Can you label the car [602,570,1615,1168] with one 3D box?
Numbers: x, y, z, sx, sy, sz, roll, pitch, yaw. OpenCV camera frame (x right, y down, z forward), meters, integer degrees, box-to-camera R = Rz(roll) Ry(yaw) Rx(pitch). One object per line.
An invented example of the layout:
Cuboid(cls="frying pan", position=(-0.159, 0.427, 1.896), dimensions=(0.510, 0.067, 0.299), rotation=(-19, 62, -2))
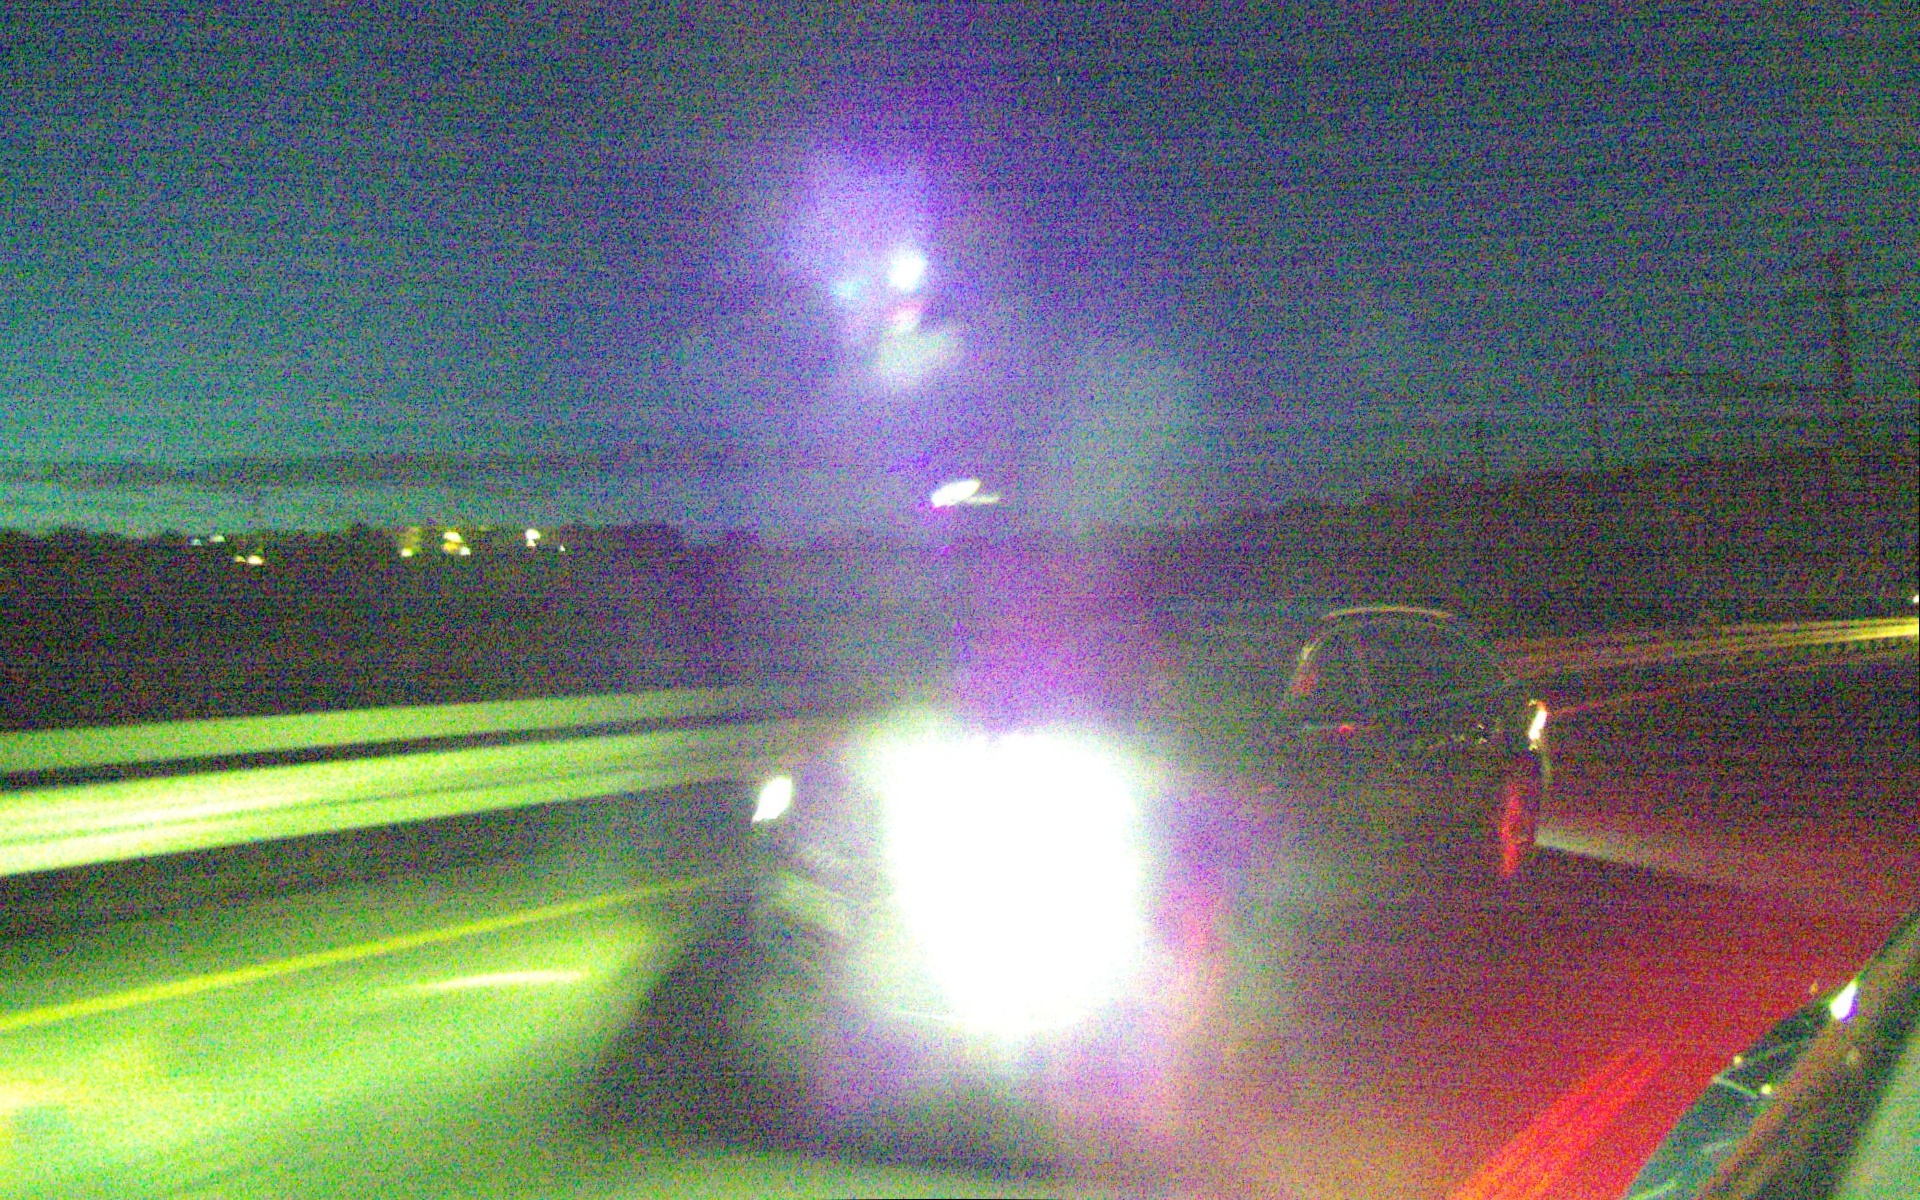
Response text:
Cuboid(cls="car", position=(1.058, 0.655, 4.674), dimensions=(4.785, 1.444, 1.813), rotation=(0, 2, -38))
